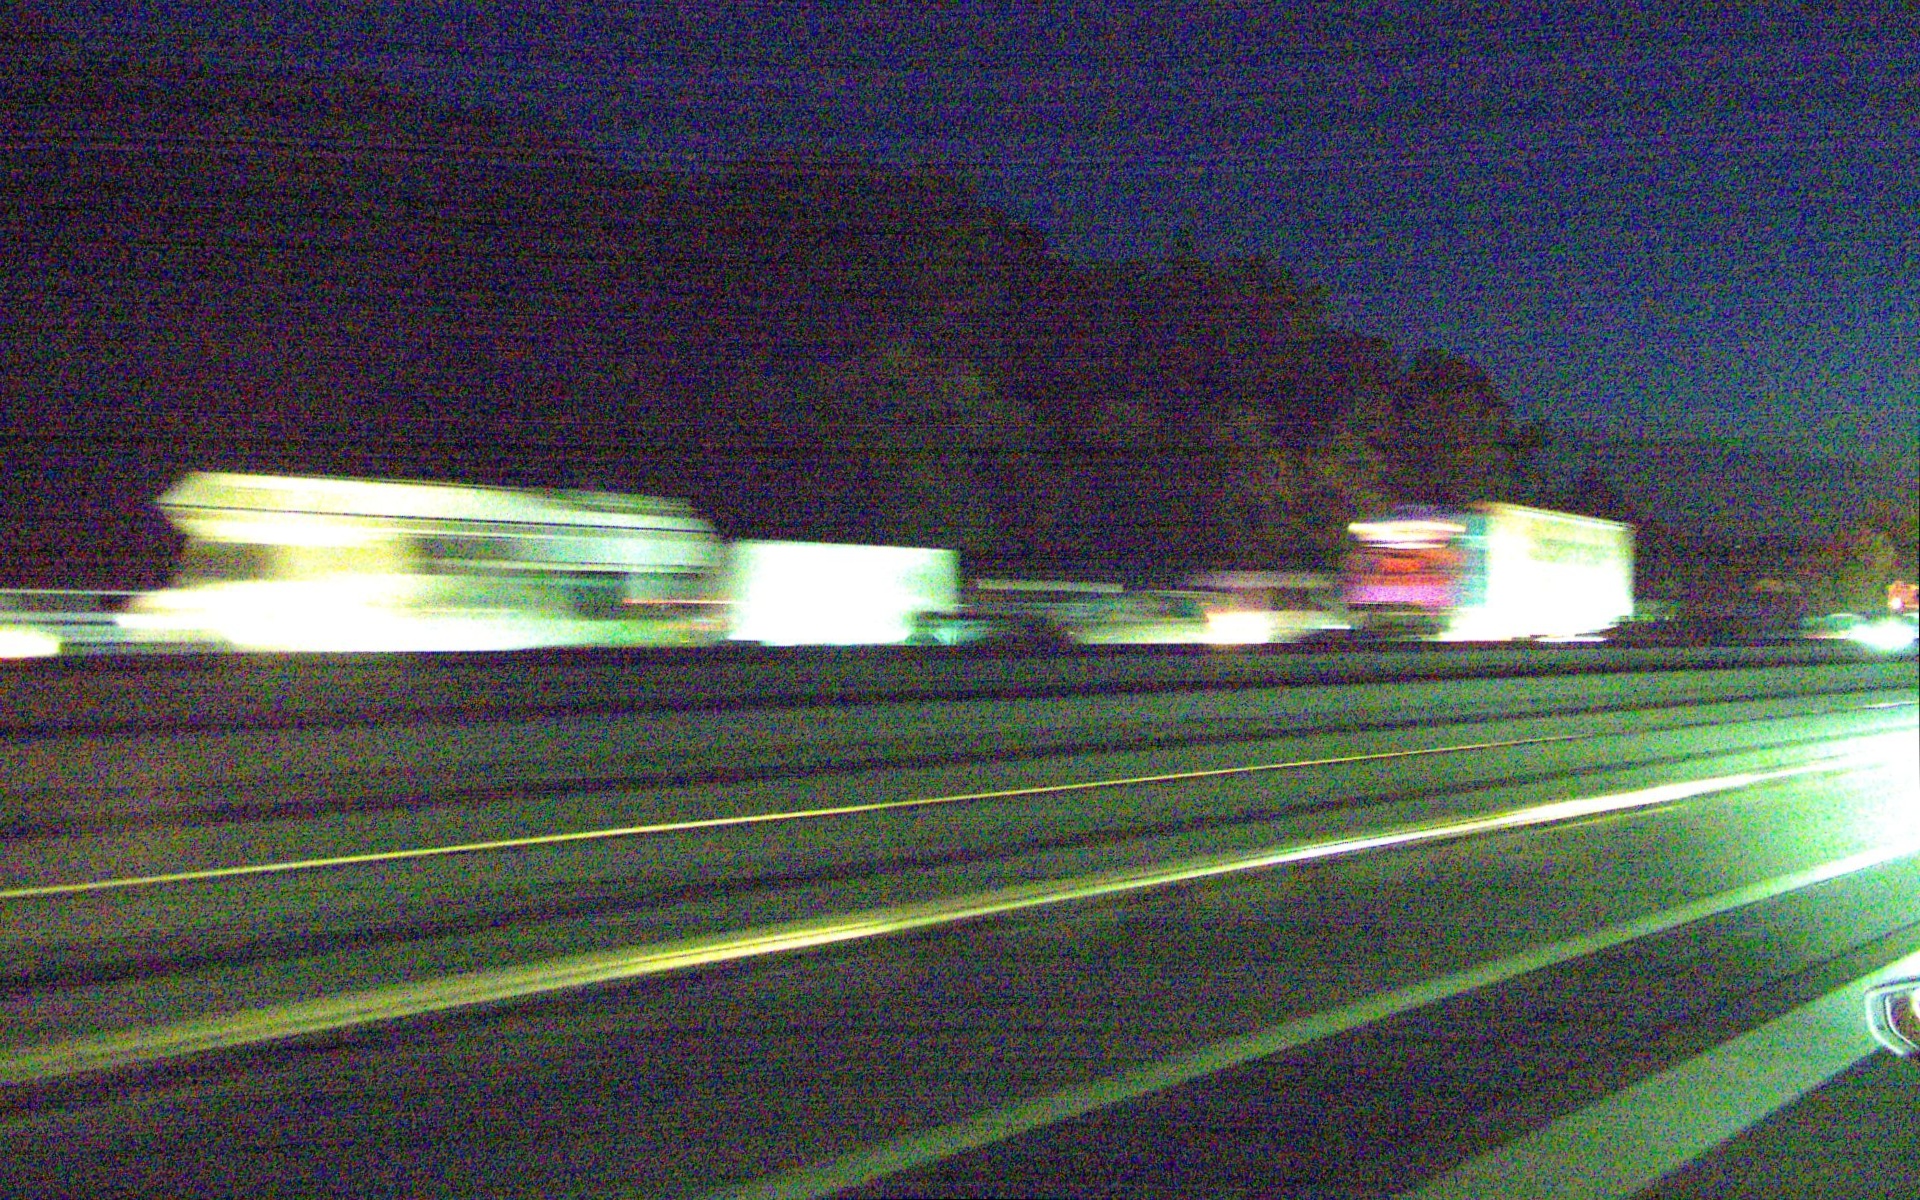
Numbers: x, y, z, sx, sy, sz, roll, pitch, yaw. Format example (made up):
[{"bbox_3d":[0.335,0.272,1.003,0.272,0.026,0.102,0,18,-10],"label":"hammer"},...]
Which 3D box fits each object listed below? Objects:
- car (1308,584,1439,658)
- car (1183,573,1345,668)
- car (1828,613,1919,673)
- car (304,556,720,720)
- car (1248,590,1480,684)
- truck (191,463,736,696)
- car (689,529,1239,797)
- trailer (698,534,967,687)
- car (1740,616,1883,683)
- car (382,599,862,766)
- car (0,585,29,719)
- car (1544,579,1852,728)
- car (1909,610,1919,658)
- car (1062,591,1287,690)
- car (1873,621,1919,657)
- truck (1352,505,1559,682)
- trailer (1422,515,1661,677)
[{"bbox_3d":[12.776,0.645,30.924,4.471,2.106,1.701,2,0,-37],"label":"car"},{"bbox_3d":[8.458,0.572,27.800,4.469,2.431,1.980,1,0,-36],"label":"car"},{"bbox_3d":[30.967,1.412,33.261,4.694,1.834,1.983,1,0,-31],"label":"car"},{"bbox_3d":[-6.039,0.491,13.855,4.966,1.911,1.893,1,0,-33],"label":"car"},{"bbox_3d":[7.029,0.654,17.390,3.955,1.368,1.619,3,2,-31],"label":"car"},{"bbox_3d":[-8.048,-0.209,17.193,7.824,3.261,2.481,1,0,-32],"label":"truck"},{"bbox_3d":[0.136,0.509,9.312,4.809,1.948,1.867,1,0,-29],"label":"car"},{"bbox_3d":[-2.569,0.238,20.551,4.936,2.781,2.351,1,0,-32],"label":"trailer"},{"bbox_3d":[24.683,1.382,29.065,4.698,1.759,1.935,1,0,-34],"label":"car"},{"bbox_3d":[-3.688,0.833,11.359,4.817,1.512,1.892,2,0,-34],"label":"car"},{"bbox_3d":[-12.861,0.537,10.083,4.812,1.512,1.894,1,0,-31],"label":"car"},{"bbox_3d":[11.450,0.739,15.448,5.540,1.948,1.866,1,0,-32],"label":"car"},{"bbox_3d":[39.249,1.369,39.090,5.424,1.834,1.983,1,0,-31],"label":"car"},{"bbox_3d":[4.384,0.789,20.427,4.269,1.834,1.984,1,0,-31],"label":"car"},{"bbox_3d":[44.548,1.807,47.237,4.462,1.617,1.209,1,0,-32],"label":"car"},{"bbox_3d":[12.462,-0.110,25.182,4.890,3.968,2.806,1,0,-38],"label":"truck"},{"bbox_3d":[16.642,-0.040,28.438,8.659,3.969,2.799,1,0,-38],"label":"trailer"}]
